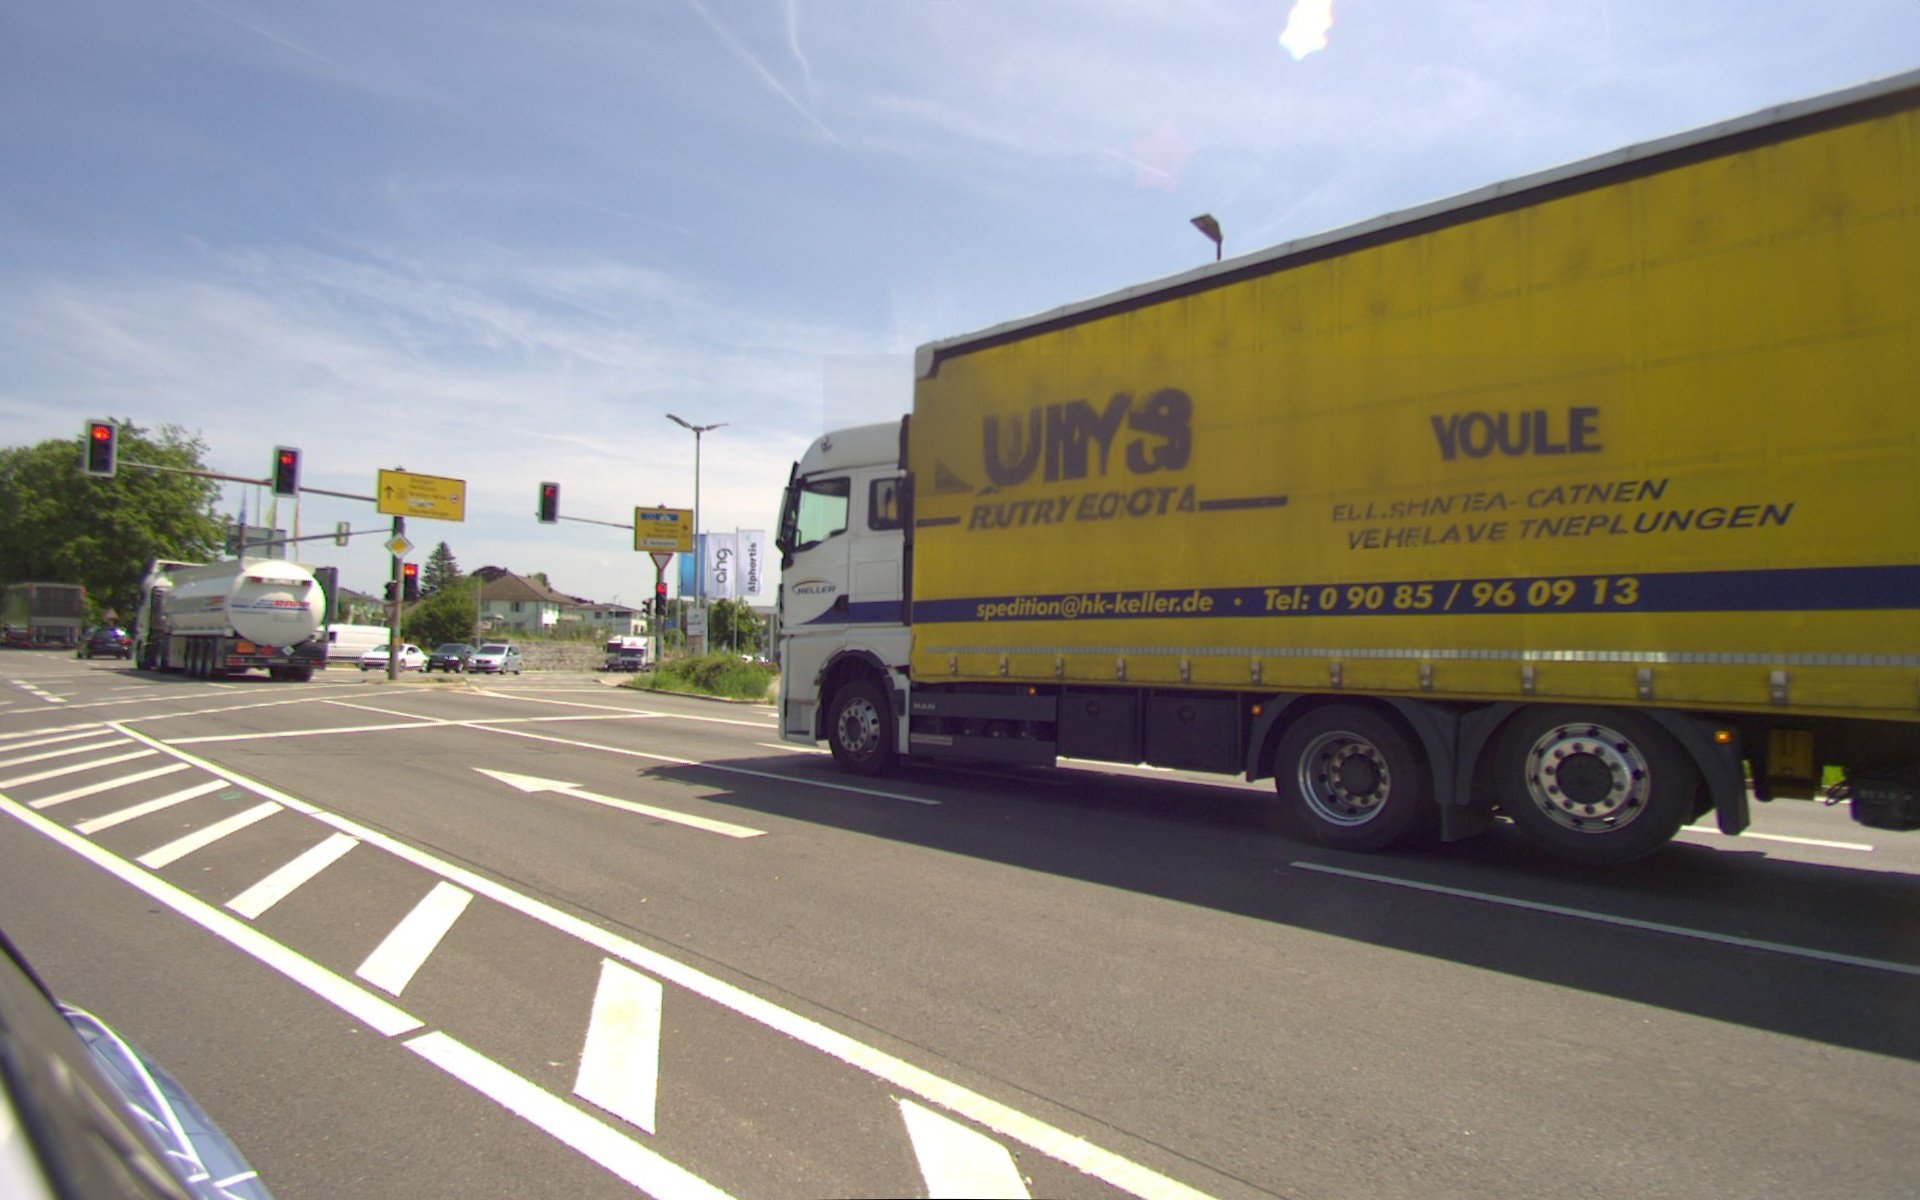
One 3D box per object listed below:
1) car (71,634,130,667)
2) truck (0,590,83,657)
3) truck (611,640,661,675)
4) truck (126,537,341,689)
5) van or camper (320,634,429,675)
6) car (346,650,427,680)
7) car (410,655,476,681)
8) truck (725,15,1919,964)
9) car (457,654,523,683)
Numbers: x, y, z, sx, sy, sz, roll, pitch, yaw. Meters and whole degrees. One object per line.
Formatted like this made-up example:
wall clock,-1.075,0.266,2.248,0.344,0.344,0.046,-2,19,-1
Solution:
car,-41.654,2.430,49.013,4.154,1.439,1.665,-1,-4,43
truck,-61.011,1.631,66.831,17.087,3.985,2.813,-2,-4,43
truck,-31.849,5.692,99.841,2.956,3.245,9.627,2,-3,-7
truck,-24.215,0.557,33.113,15.130,4.049,2.576,-1,-5,43
van or camper,-36.117,3.310,62.536,2.094,2.431,5.397,-2,-3,39
car,-27.199,3.059,48.166,1.894,1.324,4.005,2,-3,-7
car,-28.413,3.711,55.754,1.894,1.324,4.005,2,-3,-7
truck,2.392,-0.356,8.101,10.354,4.136,2.995,-2,-4,43
car,-24.481,3.550,52.860,1.894,1.432,4.005,2,-3,-7
